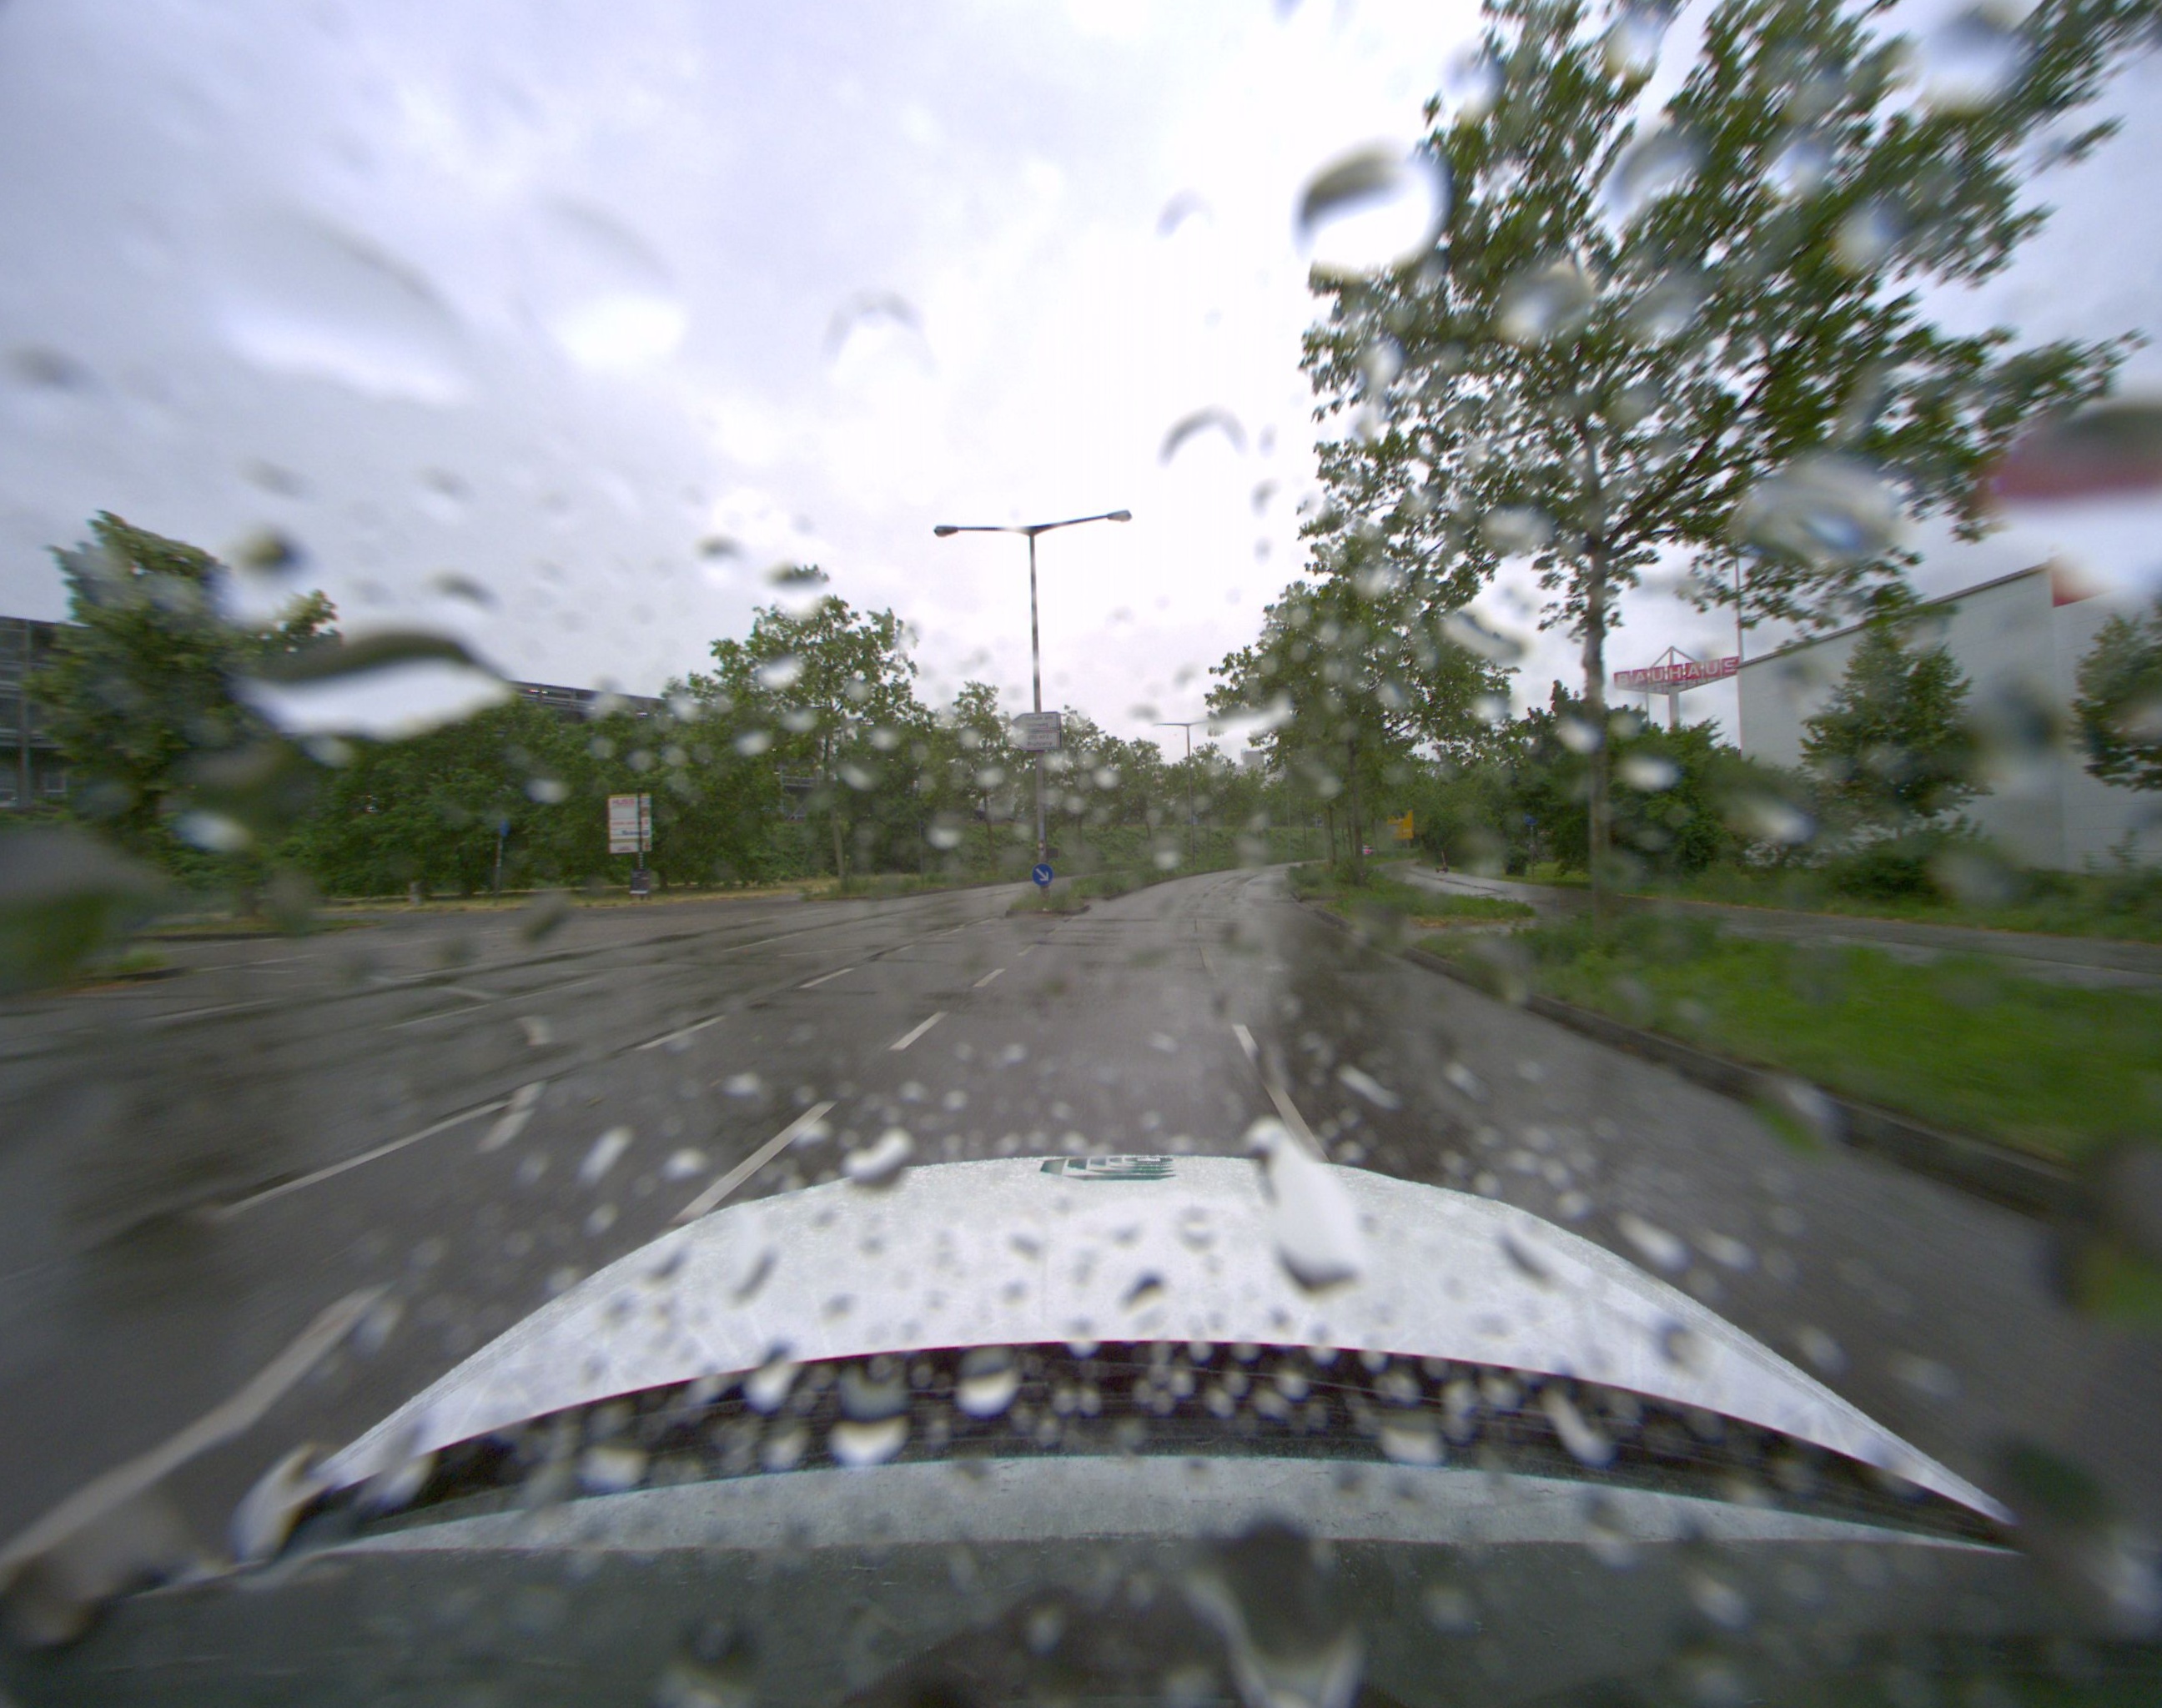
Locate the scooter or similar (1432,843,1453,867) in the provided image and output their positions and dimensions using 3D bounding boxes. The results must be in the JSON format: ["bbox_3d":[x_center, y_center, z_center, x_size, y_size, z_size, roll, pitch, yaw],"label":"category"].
[{"bbox_3d":[18.068,0.046,40.678,0.546,1.198,1.112,-2,0,2],"label":"scooter or similar"}]

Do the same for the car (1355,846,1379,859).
[{"bbox_3d":[35.349,-0.213,100.664,1.762,1.555,4.026,0,1,36],"label":"car"}]
